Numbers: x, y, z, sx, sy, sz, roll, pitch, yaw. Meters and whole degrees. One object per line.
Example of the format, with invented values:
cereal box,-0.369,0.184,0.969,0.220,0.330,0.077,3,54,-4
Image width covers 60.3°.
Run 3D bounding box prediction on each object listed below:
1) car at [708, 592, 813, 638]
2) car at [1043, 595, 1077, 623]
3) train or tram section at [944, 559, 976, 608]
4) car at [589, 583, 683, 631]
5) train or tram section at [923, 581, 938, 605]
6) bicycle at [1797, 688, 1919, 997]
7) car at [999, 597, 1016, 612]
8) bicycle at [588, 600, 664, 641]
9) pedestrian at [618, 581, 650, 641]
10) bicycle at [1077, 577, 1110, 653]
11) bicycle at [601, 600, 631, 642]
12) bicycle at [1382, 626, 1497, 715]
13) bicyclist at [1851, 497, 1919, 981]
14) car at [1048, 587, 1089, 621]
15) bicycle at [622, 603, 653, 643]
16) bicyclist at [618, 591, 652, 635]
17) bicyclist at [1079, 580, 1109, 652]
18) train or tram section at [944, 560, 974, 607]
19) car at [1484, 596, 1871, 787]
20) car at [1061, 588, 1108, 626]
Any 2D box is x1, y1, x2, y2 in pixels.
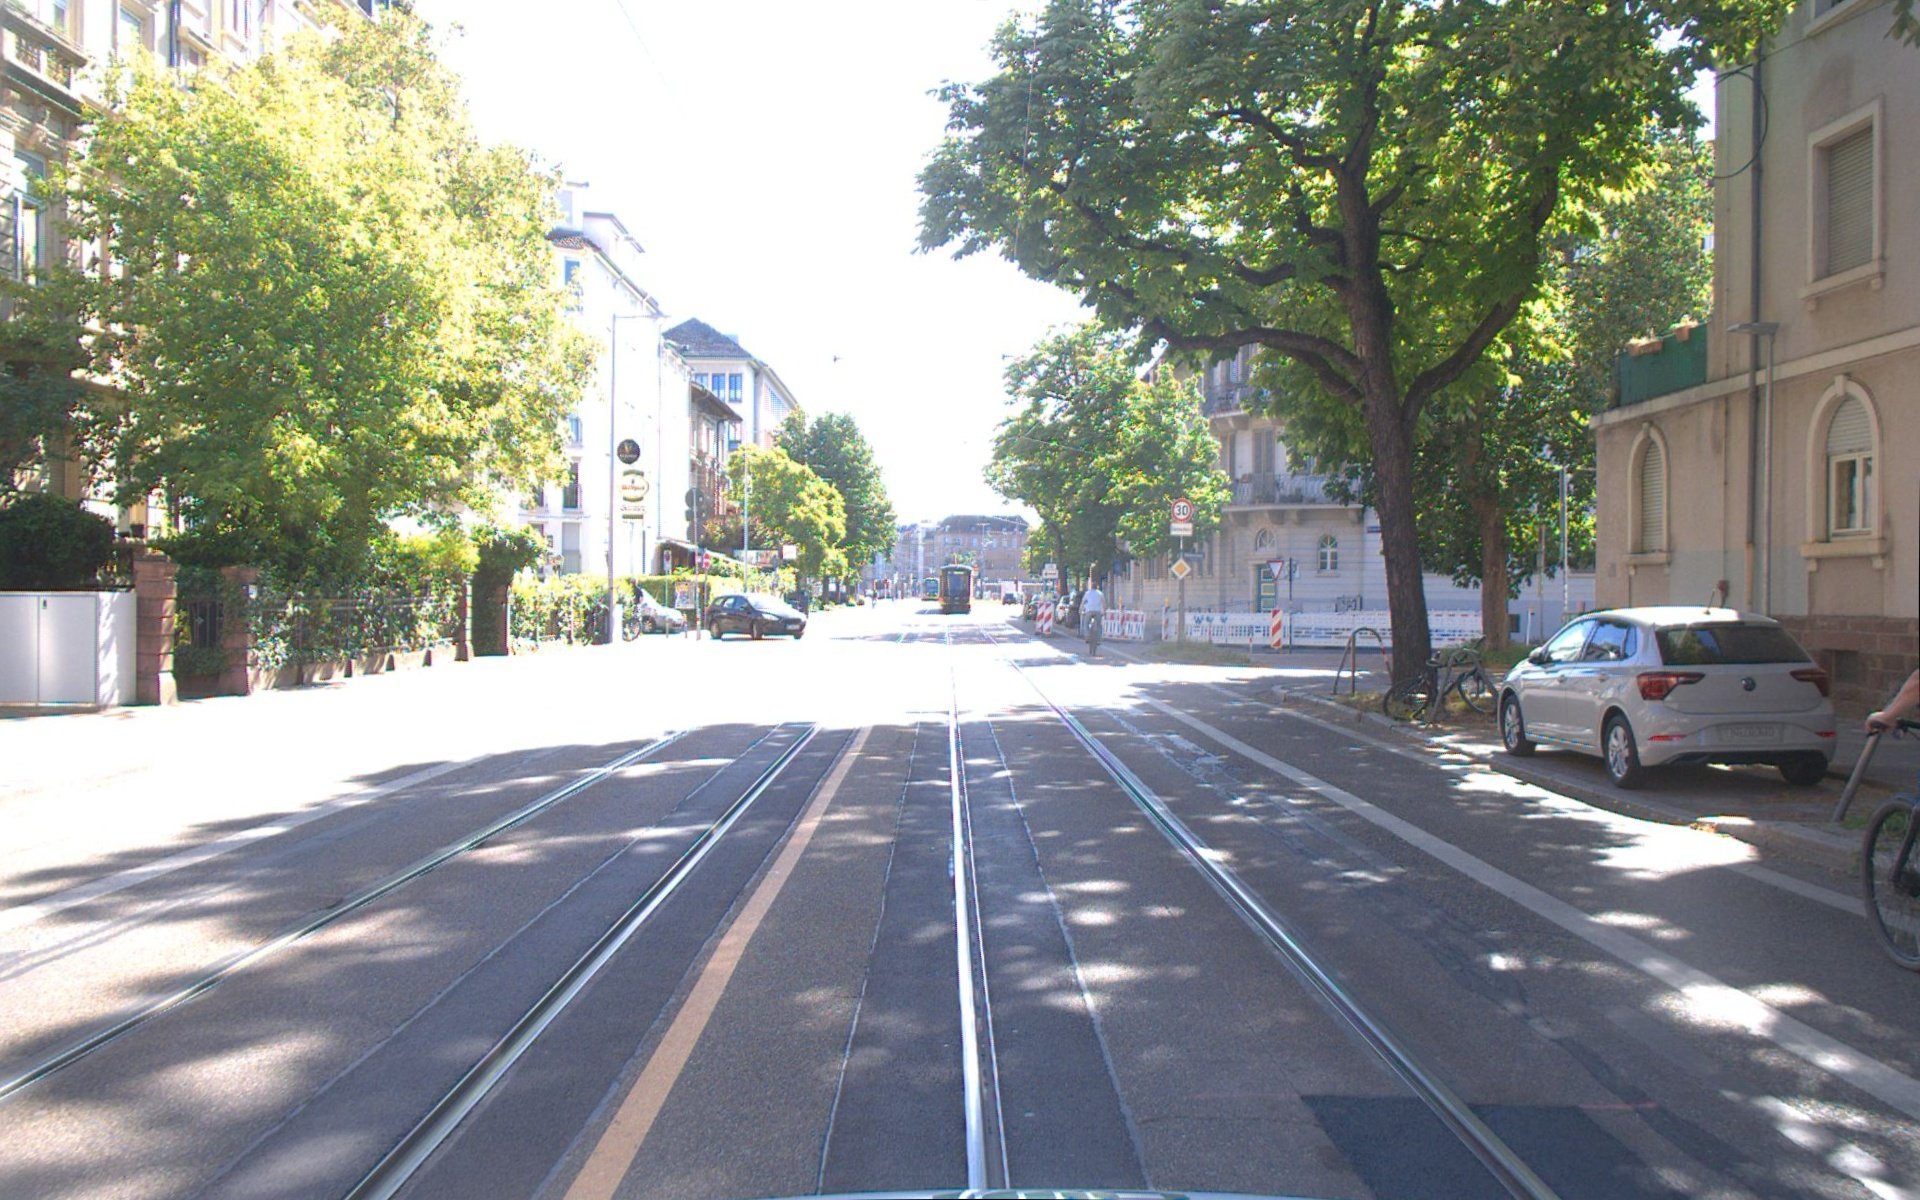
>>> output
car,-6.542,0.513,53.981,1.744,1.445,3.526,1,-1,-41
car,5.929,0.541,98.058,1.718,1.579,3.676,1,1,-1
train or tram section,-0.032,-1.210,120.933,2.110,3.491,6.610,1,0,-1
car,-12.052,0.261,61.702,3.347,1.668,1.669,1,0,-10
train or tram section,-4.556,-1.100,256.716,2.110,3.491,6.610,1,0,-1
bicycle,4.053,0.972,6.450,0.677,1.132,1.718,1,0,0
car,5.677,0.478,196.040,1.834,1.691,3.514,1,0,-1
bicycle,-10.221,0.618,50.611,2.094,1.191,0.803,2,0,14
pedestrian,-9.592,0.325,48.702,0.754,1.742,0.669,1,0,-1
bicycle,3.464,0.372,42.953,0.649,1.891,2.260,1,0,1
bicycle,-9.452,0.568,45.406,0.623,1.088,1.823,1,0,-17
bicycle,5.927,0.865,20.492,1.243,1.042,0.704,2,-1,7
bicyclist,4.098,0.545,6.476,0.712,1.880,0.836,1,0,-1
car,5.311,0.164,81.487,1.718,1.579,3.676,1,1,-1
bicycle,-9.239,0.653,47.386,0.623,1.088,1.822,1,0,-18
bicyclist,-9.936,0.405,50.568,0.756,1.314,0.734,1,0,15
bicyclist,3.448,0.410,42.636,0.632,1.827,0.955,1,0,-1
train or tram section,-0.112,-1.280,127.567,2.110,3.491,6.610,1,0,-1
car,6.305,0.713,15.061,1.713,1.445,3.999,-1,1,-1
car,5.485,0.295,73.336,1.718,1.579,3.676,1,1,-1
